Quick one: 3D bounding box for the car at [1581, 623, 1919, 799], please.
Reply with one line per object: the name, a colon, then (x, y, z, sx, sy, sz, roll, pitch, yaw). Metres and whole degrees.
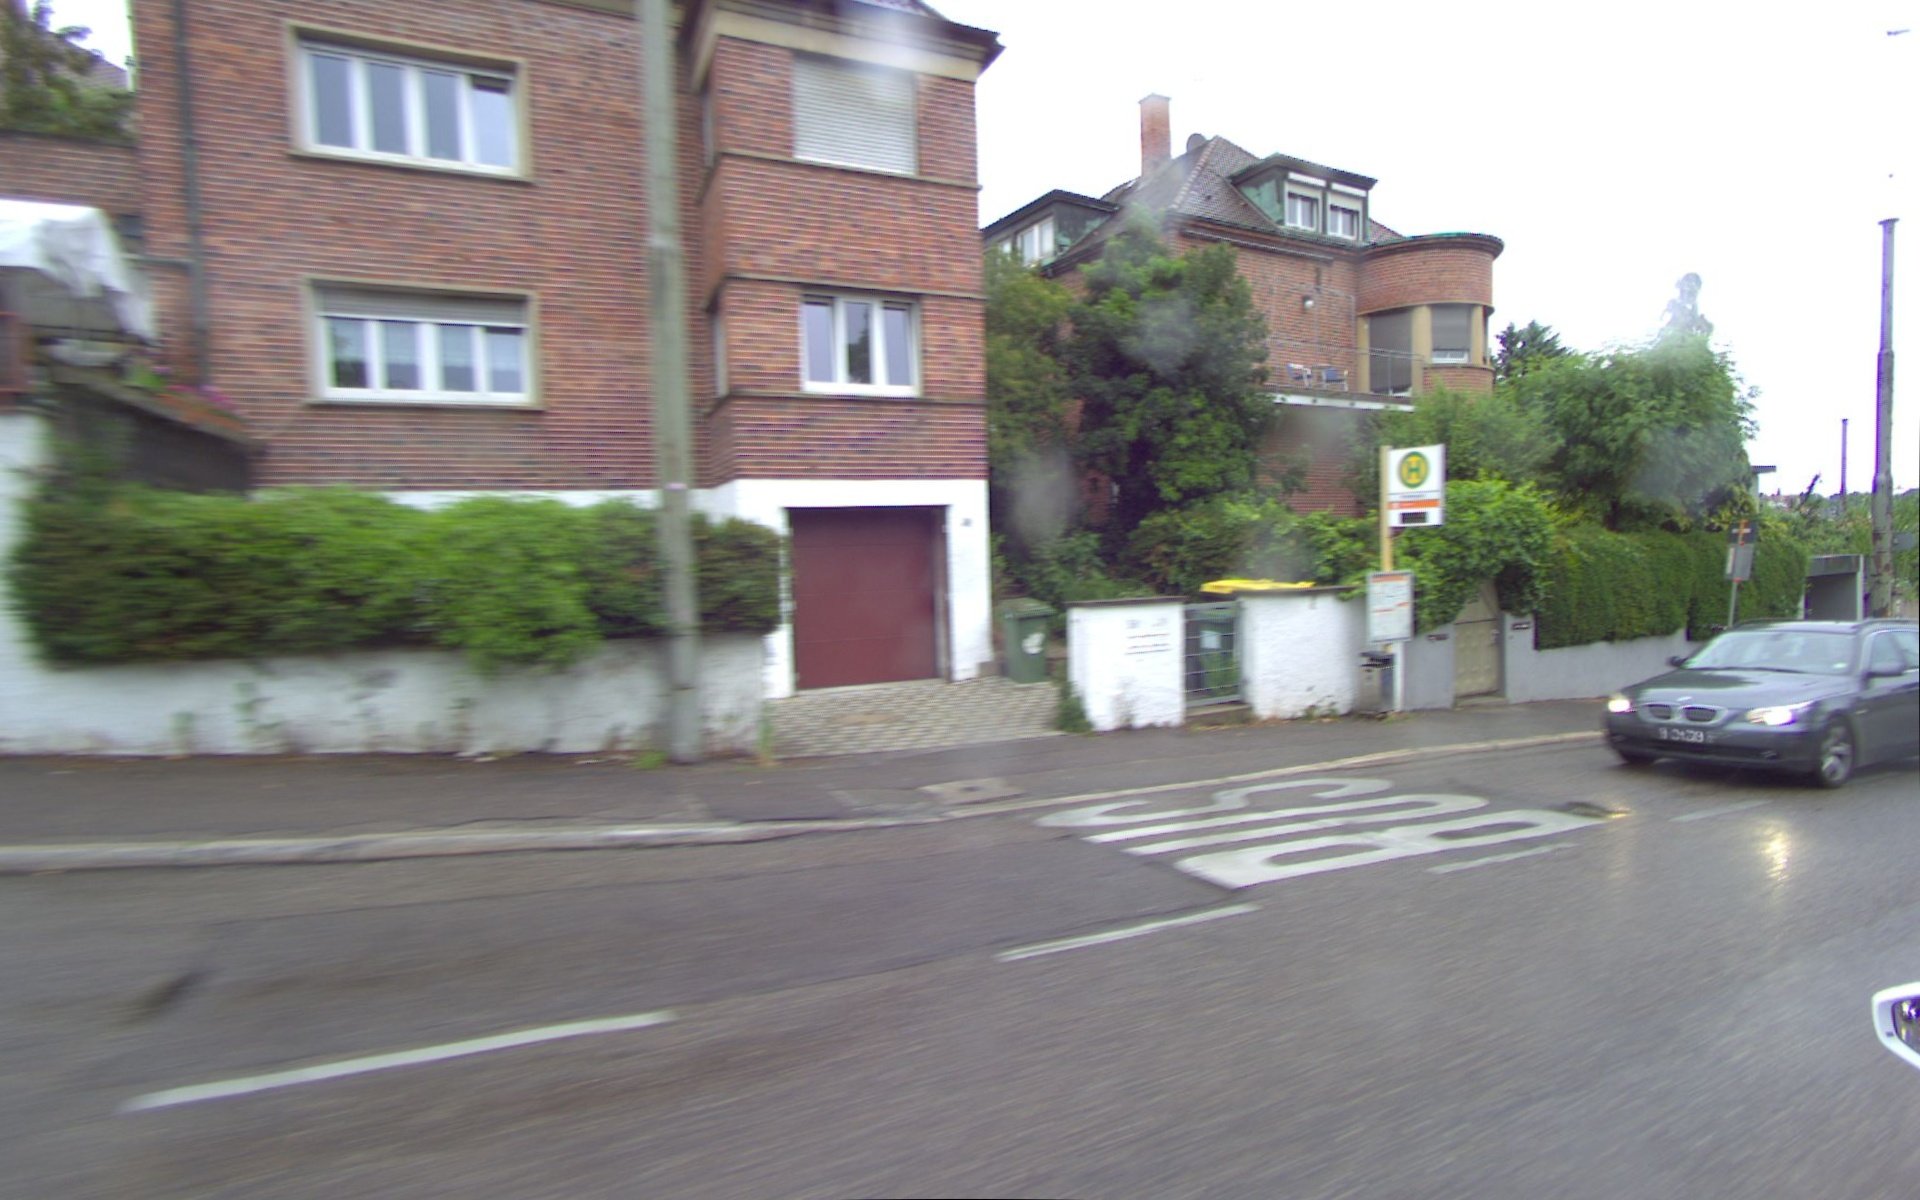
car: (8.561, 0.975, 10.252, 4.557, 1.470, 1.730, 1, -2, -28)

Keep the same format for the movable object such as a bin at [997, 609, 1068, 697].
movable object such as a bin: (0.975, 0.703, 13.629, 0.749, 1.096, 0.623, -1, 4, -23)

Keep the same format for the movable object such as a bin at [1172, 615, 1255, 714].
movable object such as a bin: (3.094, 0.768, 12.281, 0.750, 1.096, 0.622, -2, 4, -29)

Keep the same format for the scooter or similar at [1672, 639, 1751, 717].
scooter or similar: (12.518, 1.274, 16.722, 1.419, 1.219, 0.520, 0, -2, -31)

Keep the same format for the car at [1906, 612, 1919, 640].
car: (54.403, 1.339, 54.686, 1.621, 1.479, 3.792, -6, -1, -19)
